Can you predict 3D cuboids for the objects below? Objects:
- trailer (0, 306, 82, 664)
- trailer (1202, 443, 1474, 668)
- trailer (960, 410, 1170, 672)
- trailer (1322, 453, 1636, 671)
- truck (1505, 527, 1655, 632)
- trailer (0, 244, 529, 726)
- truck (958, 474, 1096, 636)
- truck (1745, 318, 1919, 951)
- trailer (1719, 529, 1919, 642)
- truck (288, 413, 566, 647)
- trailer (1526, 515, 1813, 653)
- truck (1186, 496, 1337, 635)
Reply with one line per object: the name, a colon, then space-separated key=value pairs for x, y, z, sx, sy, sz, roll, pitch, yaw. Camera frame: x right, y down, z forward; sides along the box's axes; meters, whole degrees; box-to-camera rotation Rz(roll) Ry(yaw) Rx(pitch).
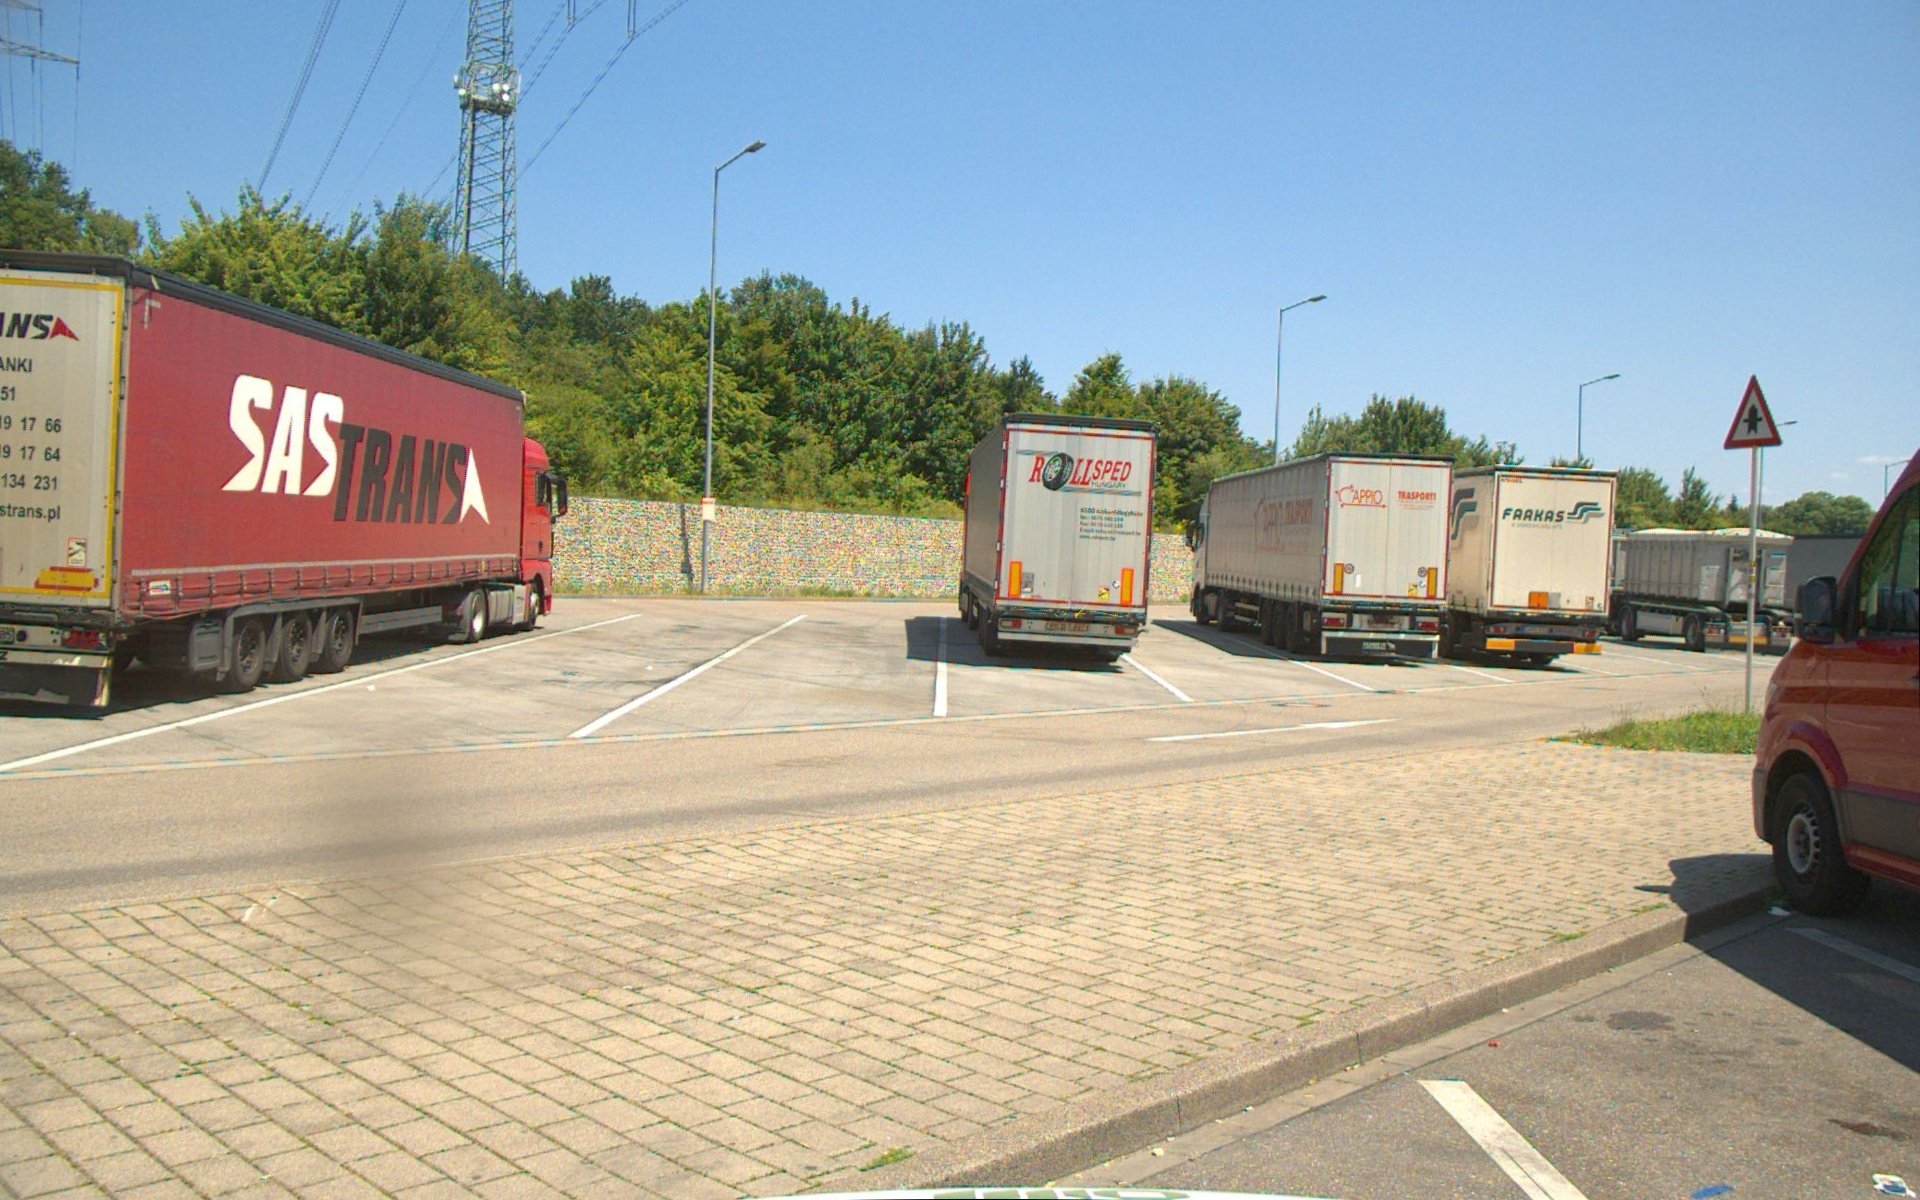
trailer: x=-12.491 y=-1.261 z=15.812 sx=2.651 sy=4.173 sz=10.389 roll=2 pitch=2 yaw=-1
trailer: x=8.246 y=-1.102 z=38.518 sx=2.800 sy=4.180 sz=13.762 roll=2 pitch=2 yaw=-1
trailer: x=1.672 y=-1.176 z=33.165 sx=2.800 sy=4.040 sz=13.761 roll=2 pitch=2 yaw=-2
trailer: x=11.766 y=-0.990 z=39.582 sx=2.800 sy=4.180 sz=13.762 roll=2 pitch=2 yaw=-1
truck: x=21.735 y=-0.793 z=58.356 sx=2.808 sy=3.421 sz=5.974 roll=2 pitch=2 yaw=-1
trailer: x=-8.694 y=-1.272 z=21.268 sx=2.764 sy=4.141 sz=13.763 roll=2 pitch=2 yaw=-1
truck: x=1.471 y=-1.092 z=39.362 sx=2.808 sy=3.421 sz=5.974 roll=2 pitch=2 yaw=-1
truck: x=4.989 y=0.157 z=5.534 sx=1.969 sy=2.697 sz=6.457 roll=1 pitch=0 yaw=3
trailer: x=34.786 y=-0.706 z=65.460 sx=2.800 sy=3.972 sz=13.762 roll=2 pitch=2 yaw=-1
truck: x=-8.803 y=-1.164 z=28.084 sx=2.755 sy=3.421 sz=5.974 roll=2 pitch=2 yaw=-1
trailer: x=21.833 y=-0.679 z=52.261 sx=2.800 sy=3.662 sz=13.762 roll=2 pitch=2 yaw=-1
truck: x=8.124 y=-0.985 z=45.281 sx=2.808 sy=3.421 sz=5.974 roll=2 pitch=2 yaw=-1
